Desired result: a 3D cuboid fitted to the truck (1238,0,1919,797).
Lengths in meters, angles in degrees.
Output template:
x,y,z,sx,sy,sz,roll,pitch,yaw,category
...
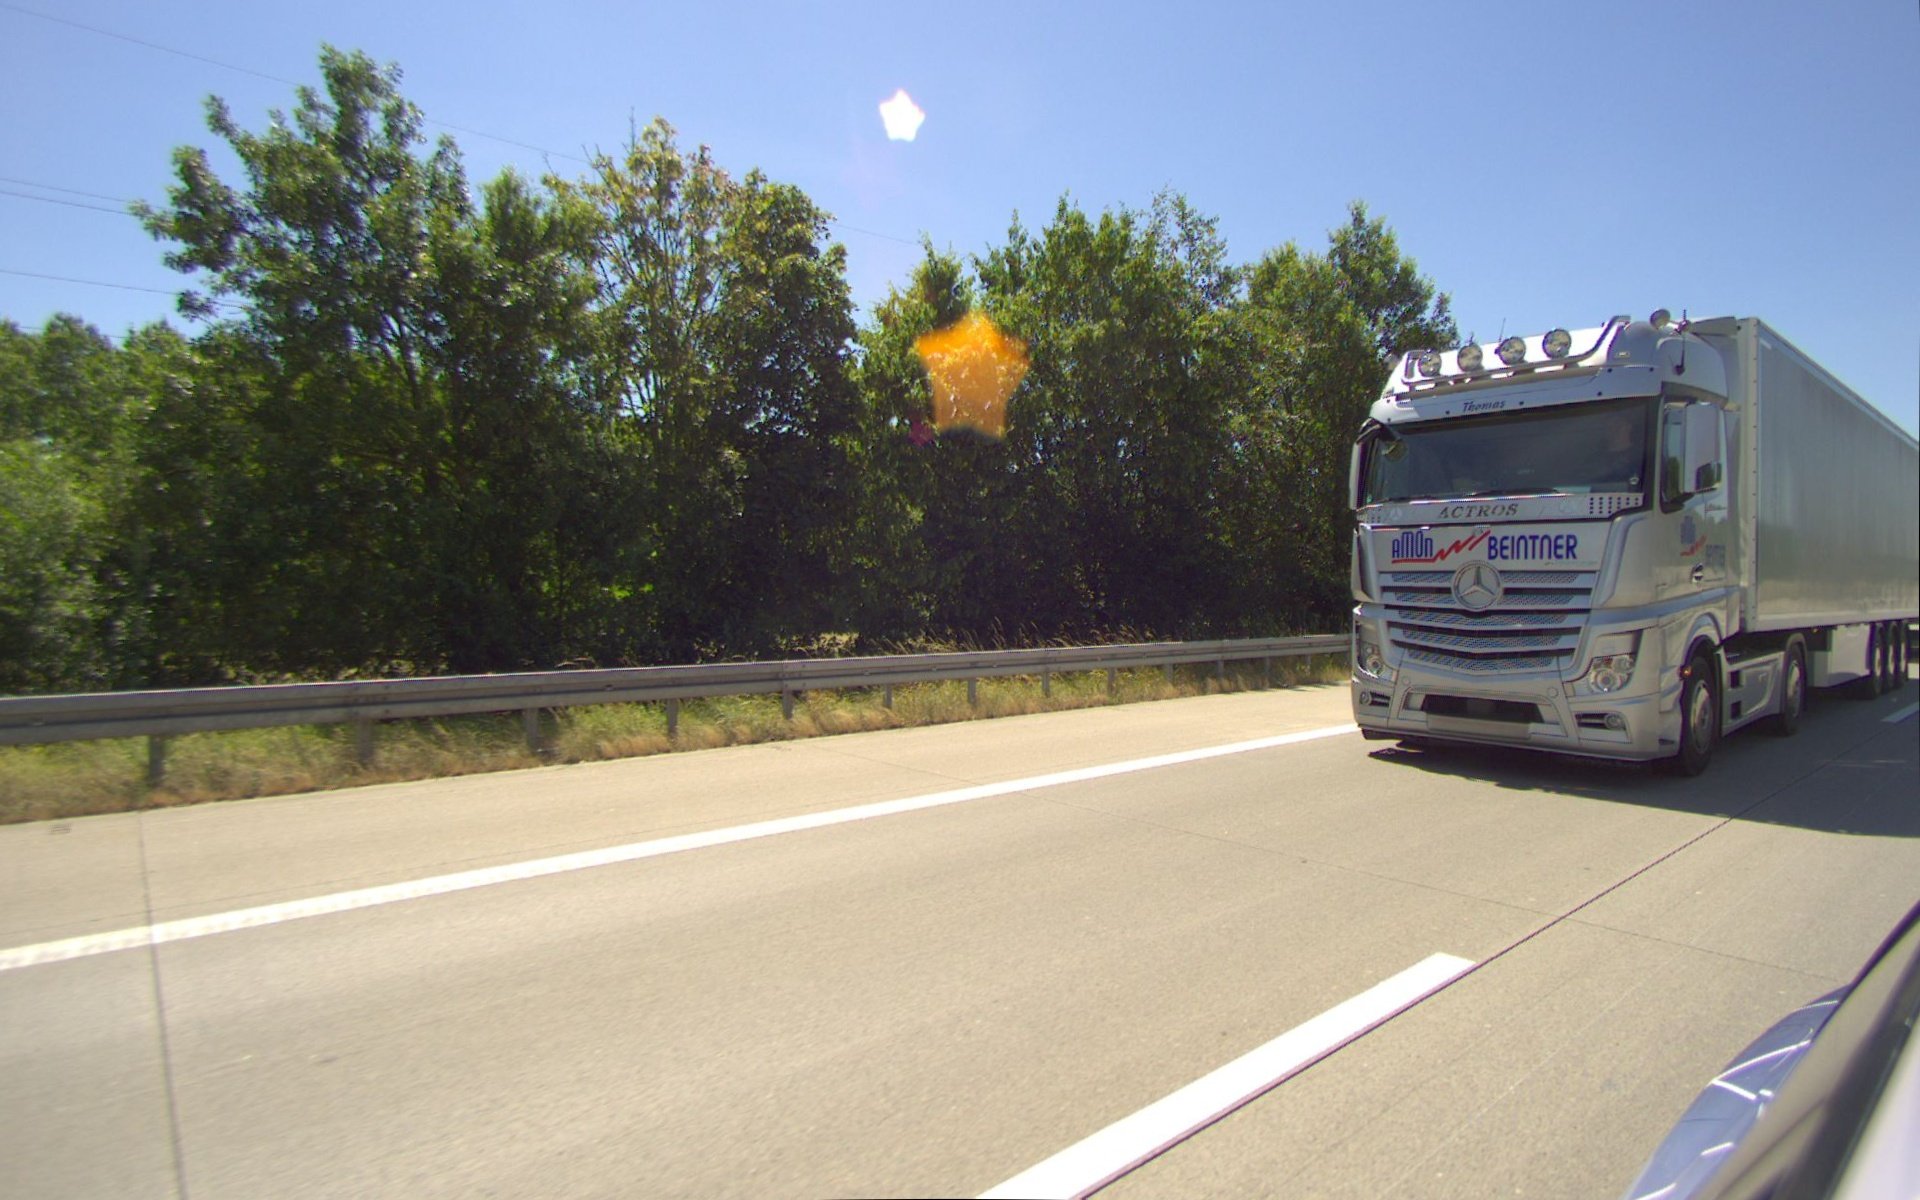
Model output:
x,y,z,sx,sy,sz,roll,pitch,yaw,category
10.702,-1.561,14.033,17.924,5.863,3.582,0,-3,-41,truck
